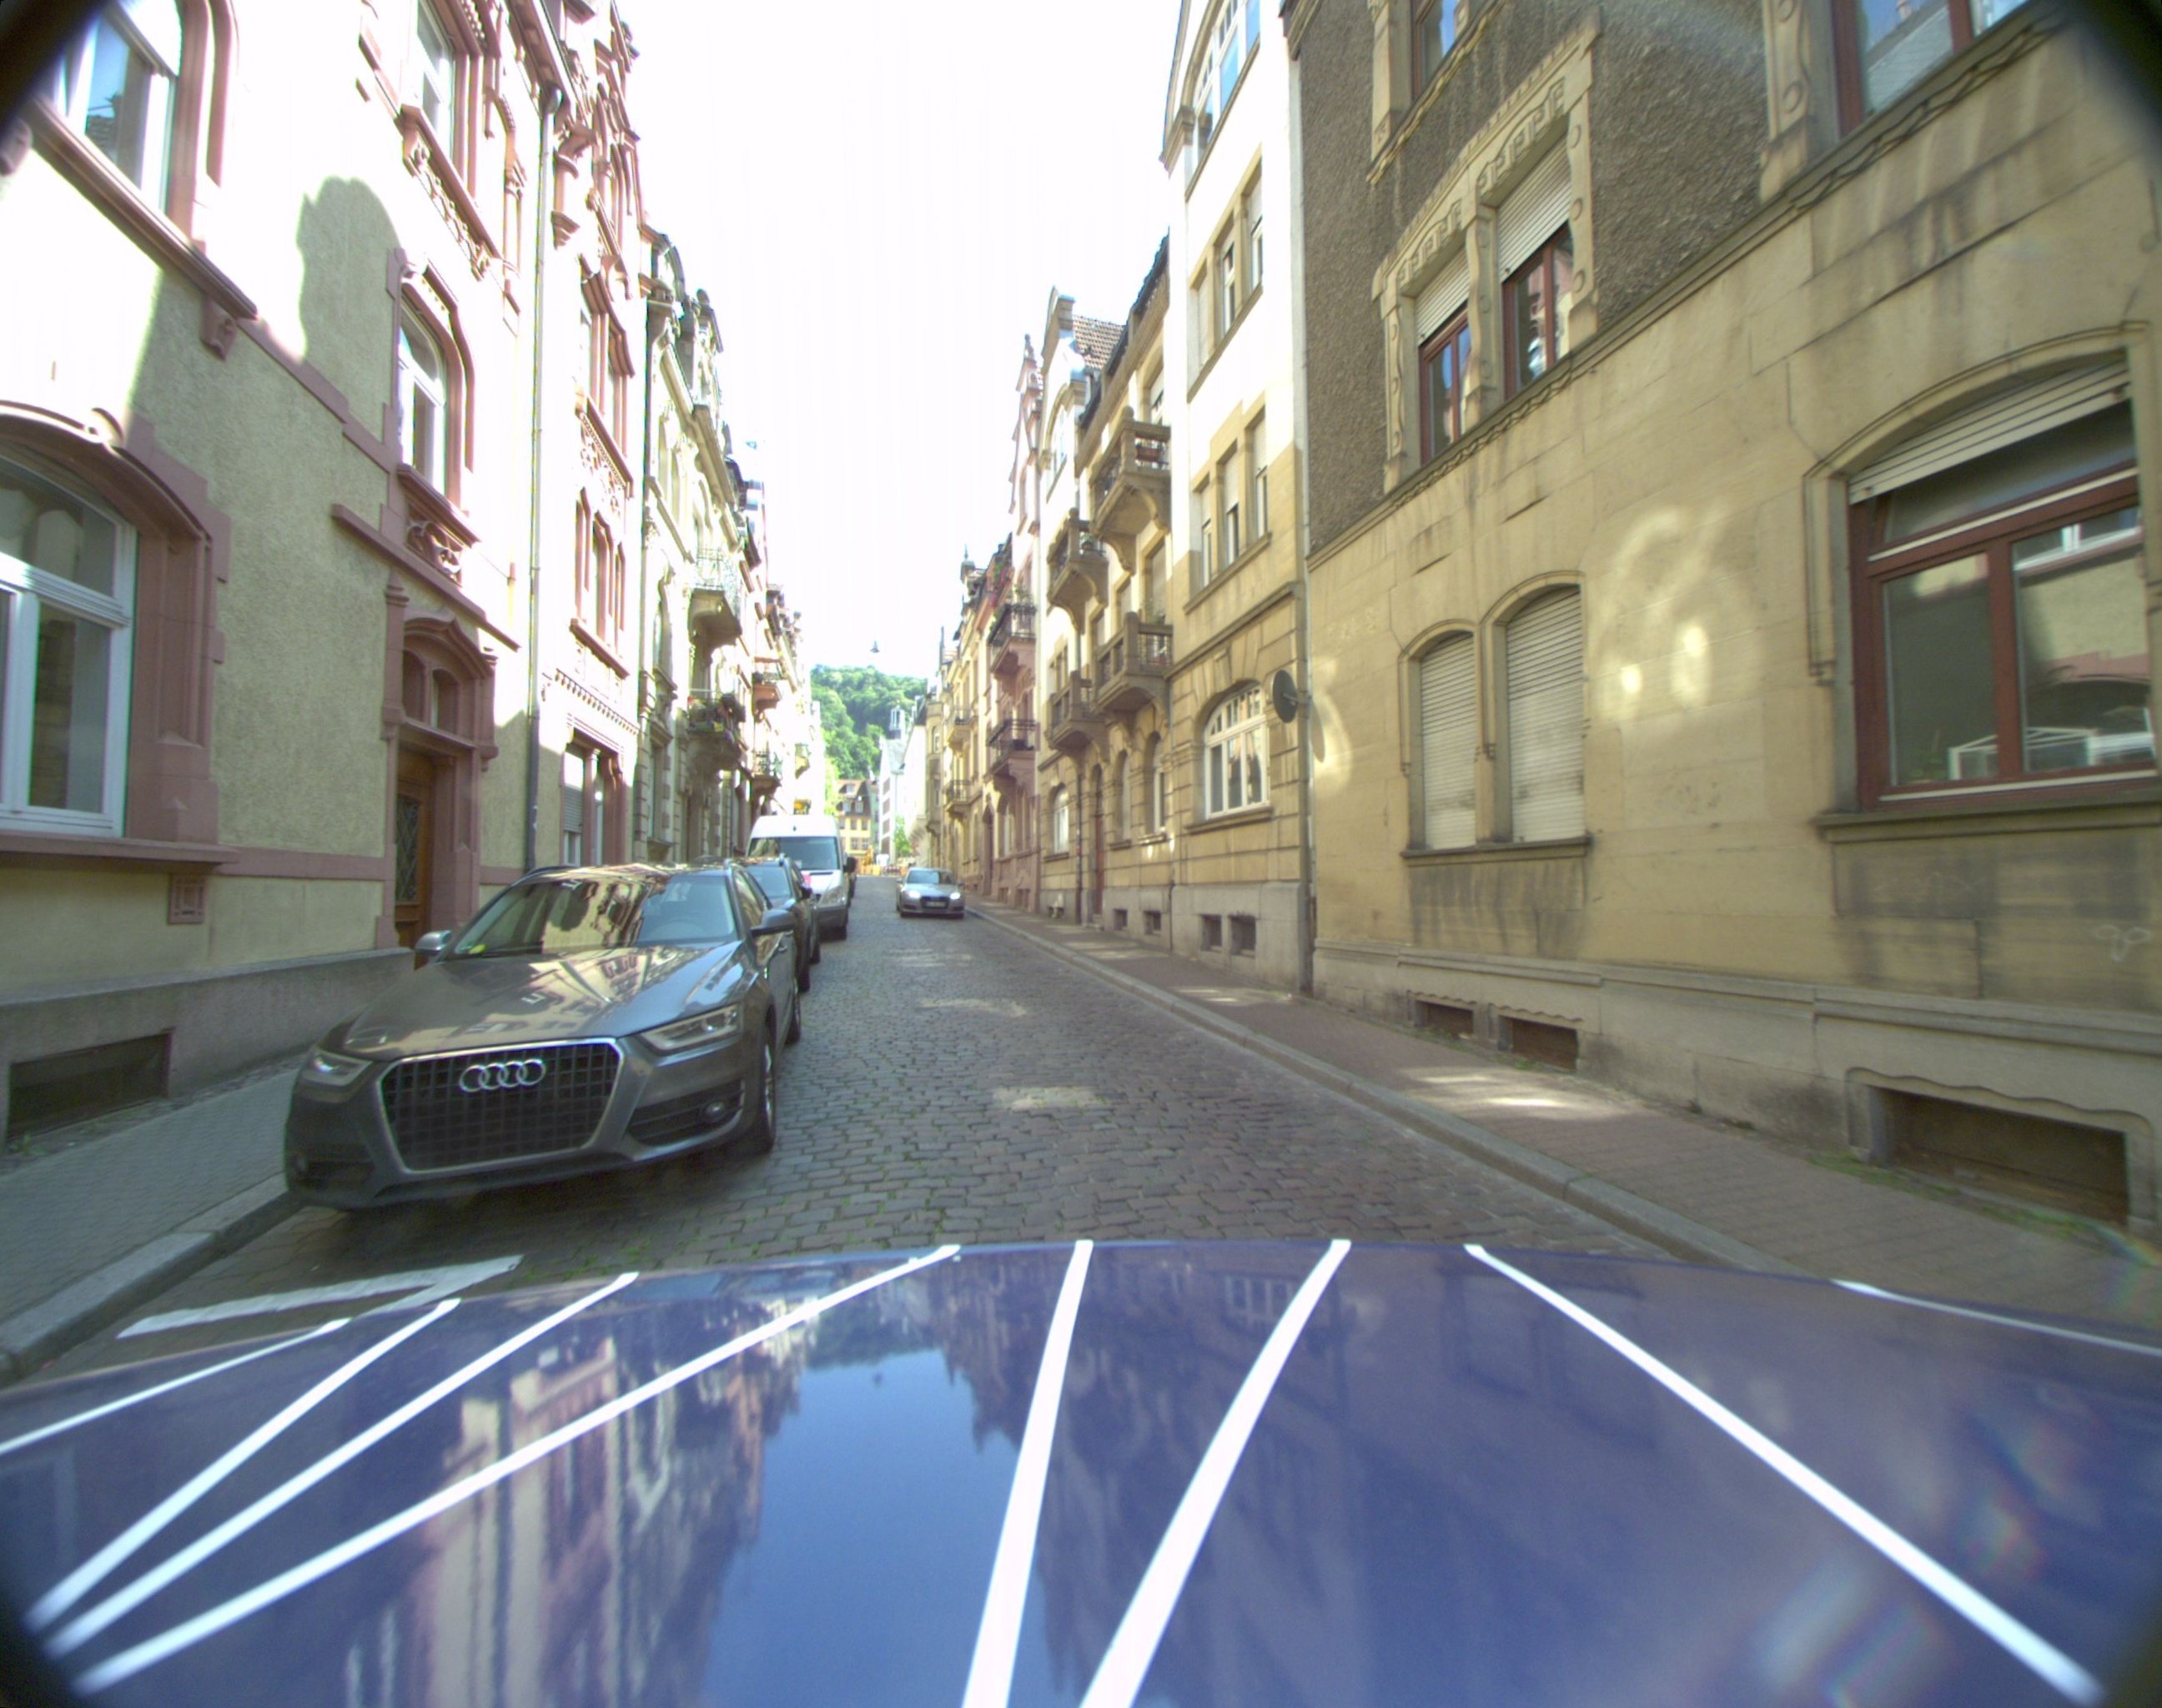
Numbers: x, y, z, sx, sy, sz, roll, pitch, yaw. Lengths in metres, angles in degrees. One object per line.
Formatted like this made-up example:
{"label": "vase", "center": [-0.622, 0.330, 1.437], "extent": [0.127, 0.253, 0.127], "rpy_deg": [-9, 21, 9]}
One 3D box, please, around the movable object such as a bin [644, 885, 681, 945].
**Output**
{"label": "movable object such as a bin", "center": [-7.721, 1.111, 14.031], "extent": [0.518, 1.083, 0.421], "rpy_deg": [0, -2, -16]}

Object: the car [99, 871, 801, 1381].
{"label": "car", "center": [-2.901, 0.938, 4.784], "extent": [1.863, 1.573, 4.254], "rpy_deg": [-1, 0, -17]}

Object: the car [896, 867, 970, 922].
{"label": "car", "center": [-4.569, 1.138, 22.990], "extent": [1.878, 1.483, 4.378], "rpy_deg": [0, -1, -15]}

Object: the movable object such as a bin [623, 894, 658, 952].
{"label": "movable object such as a bin", "center": [-7.472, 1.163, 12.906], "extent": [0.440, 0.951, 0.349], "rpy_deg": [0, -2, -16]}

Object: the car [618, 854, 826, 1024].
{"label": "car", "center": [-4.417, 0.891, 9.978], "extent": [1.763, 1.696, 3.995], "rpy_deg": [-2, 0, -16]}

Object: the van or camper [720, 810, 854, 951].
{"label": "van or camper", "center": [-6.285, 0.488, 17.042], "extent": [2.228, 2.505, 6.758], "rpy_deg": [1, 0, -17]}
